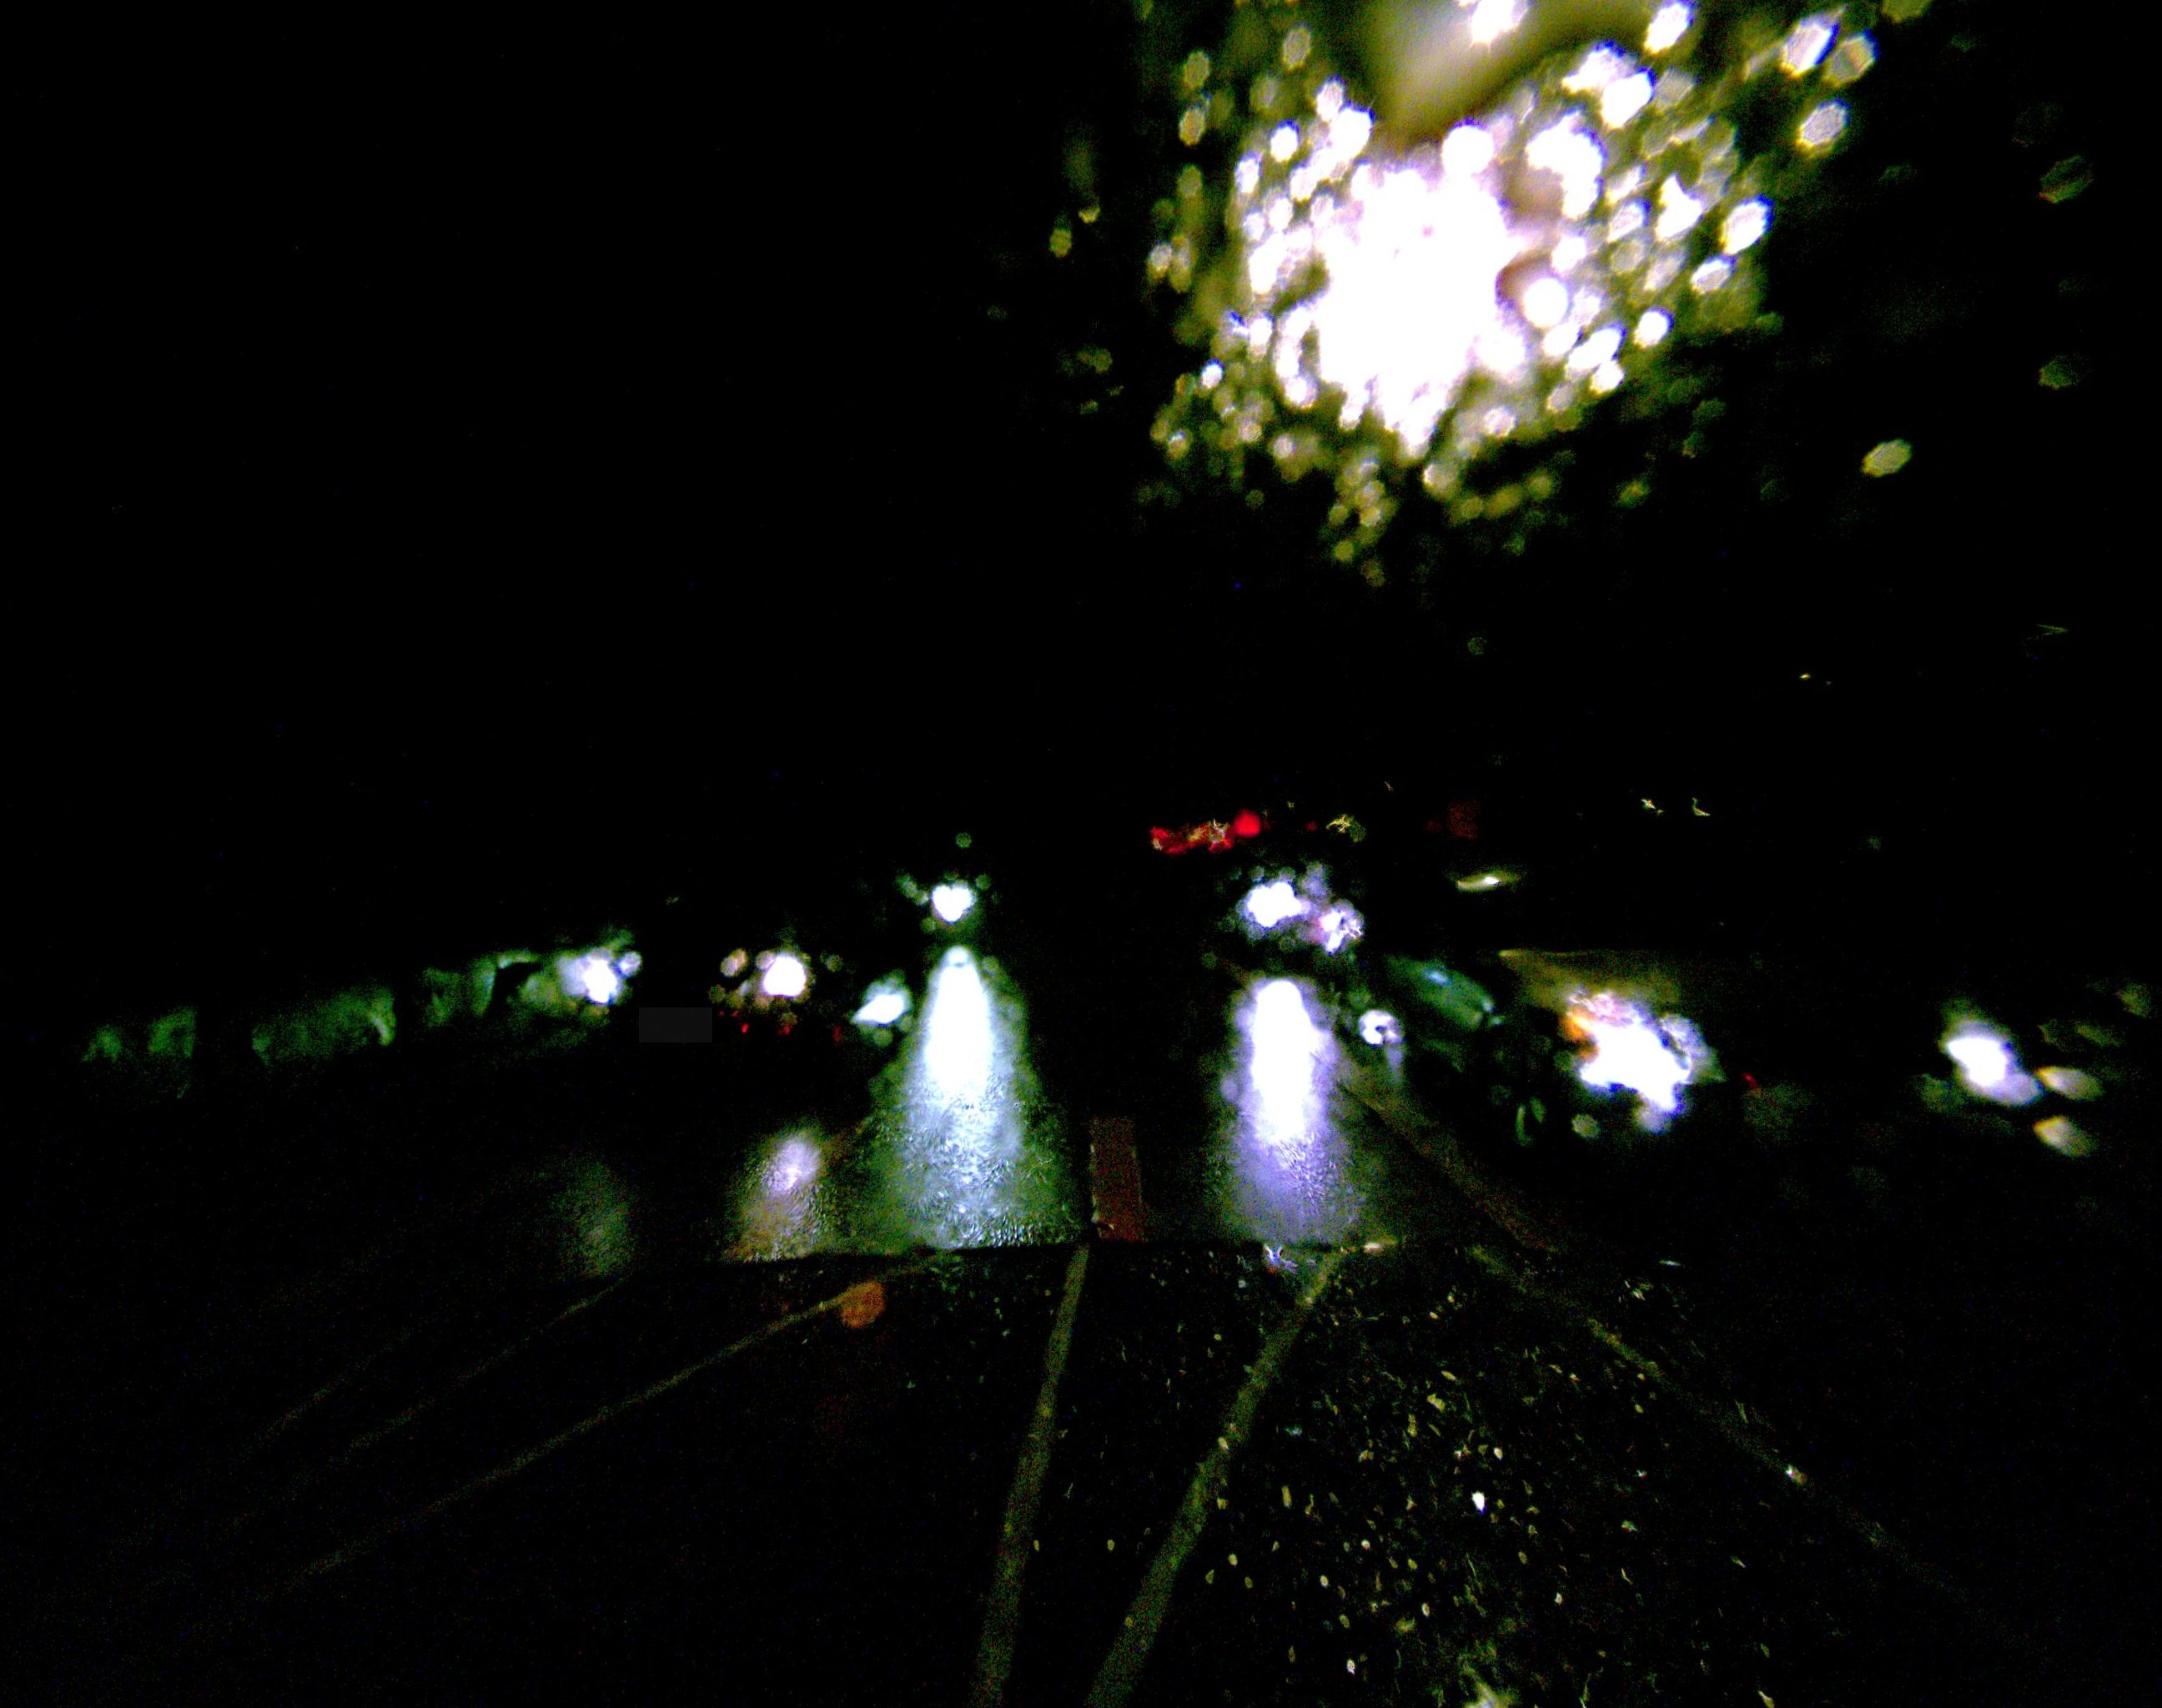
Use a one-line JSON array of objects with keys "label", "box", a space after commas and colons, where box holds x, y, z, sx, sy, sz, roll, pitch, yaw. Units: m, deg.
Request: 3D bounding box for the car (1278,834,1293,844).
[{"label": "car", "box": [37.764, -2.715, 140.502, 1.790, 1.684, 4.219, -4, 0, 4]}]

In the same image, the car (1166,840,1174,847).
[{"label": "car", "box": [21.945, -2.665, 187.593, 1.806, 1.579, 4.031, -3, 1, 3]}]

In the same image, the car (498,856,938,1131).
[{"label": "car", "box": [-2.746, 0.910, 7.003, 1.790, 1.684, 4.219, -2, 0, 3]}]

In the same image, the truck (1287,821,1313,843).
[{"label": "truck", "box": [49.631, -4.977, 172.374, 3.446, 4.584, 10.213, -6, 1, 5]}]

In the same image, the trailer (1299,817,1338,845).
[{"label": "trailer", "box": [48.315, -4.728, 155.292, 3.980, 4.984, 14.836, -6, 1, 5]}]

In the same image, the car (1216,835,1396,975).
[{"label": "car", "box": [3.317, 0.653, 12.098, 1.788, 1.772, 4.437, -2, 0, 4]}]

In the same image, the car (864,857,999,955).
[{"label": "car", "box": [-2.914, 0.947, 15.851, 1.788, 1.638, 4.436, -3, 0, 1]}]

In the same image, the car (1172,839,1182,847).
[{"label": "car", "box": [20.932, -2.431, 165.446, 1.765, 1.632, 4.652, -3, 1, 2]}]

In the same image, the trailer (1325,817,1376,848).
[{"label": "trailer", "box": [45.618, -3.608, 129.343, 3.980, 4.584, 15.516, -6, 1, 5]}]

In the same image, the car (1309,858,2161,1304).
[{"label": "car", "box": [2.981, 0.824, 4.895, 1.788, 1.502, 4.436, -1, 1, 2]}]

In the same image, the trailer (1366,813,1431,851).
[{"label": "trailer", "box": [44.583, -3.078, 107.339, 3.980, 4.584, 14.248, -6, 1, 5]}]
